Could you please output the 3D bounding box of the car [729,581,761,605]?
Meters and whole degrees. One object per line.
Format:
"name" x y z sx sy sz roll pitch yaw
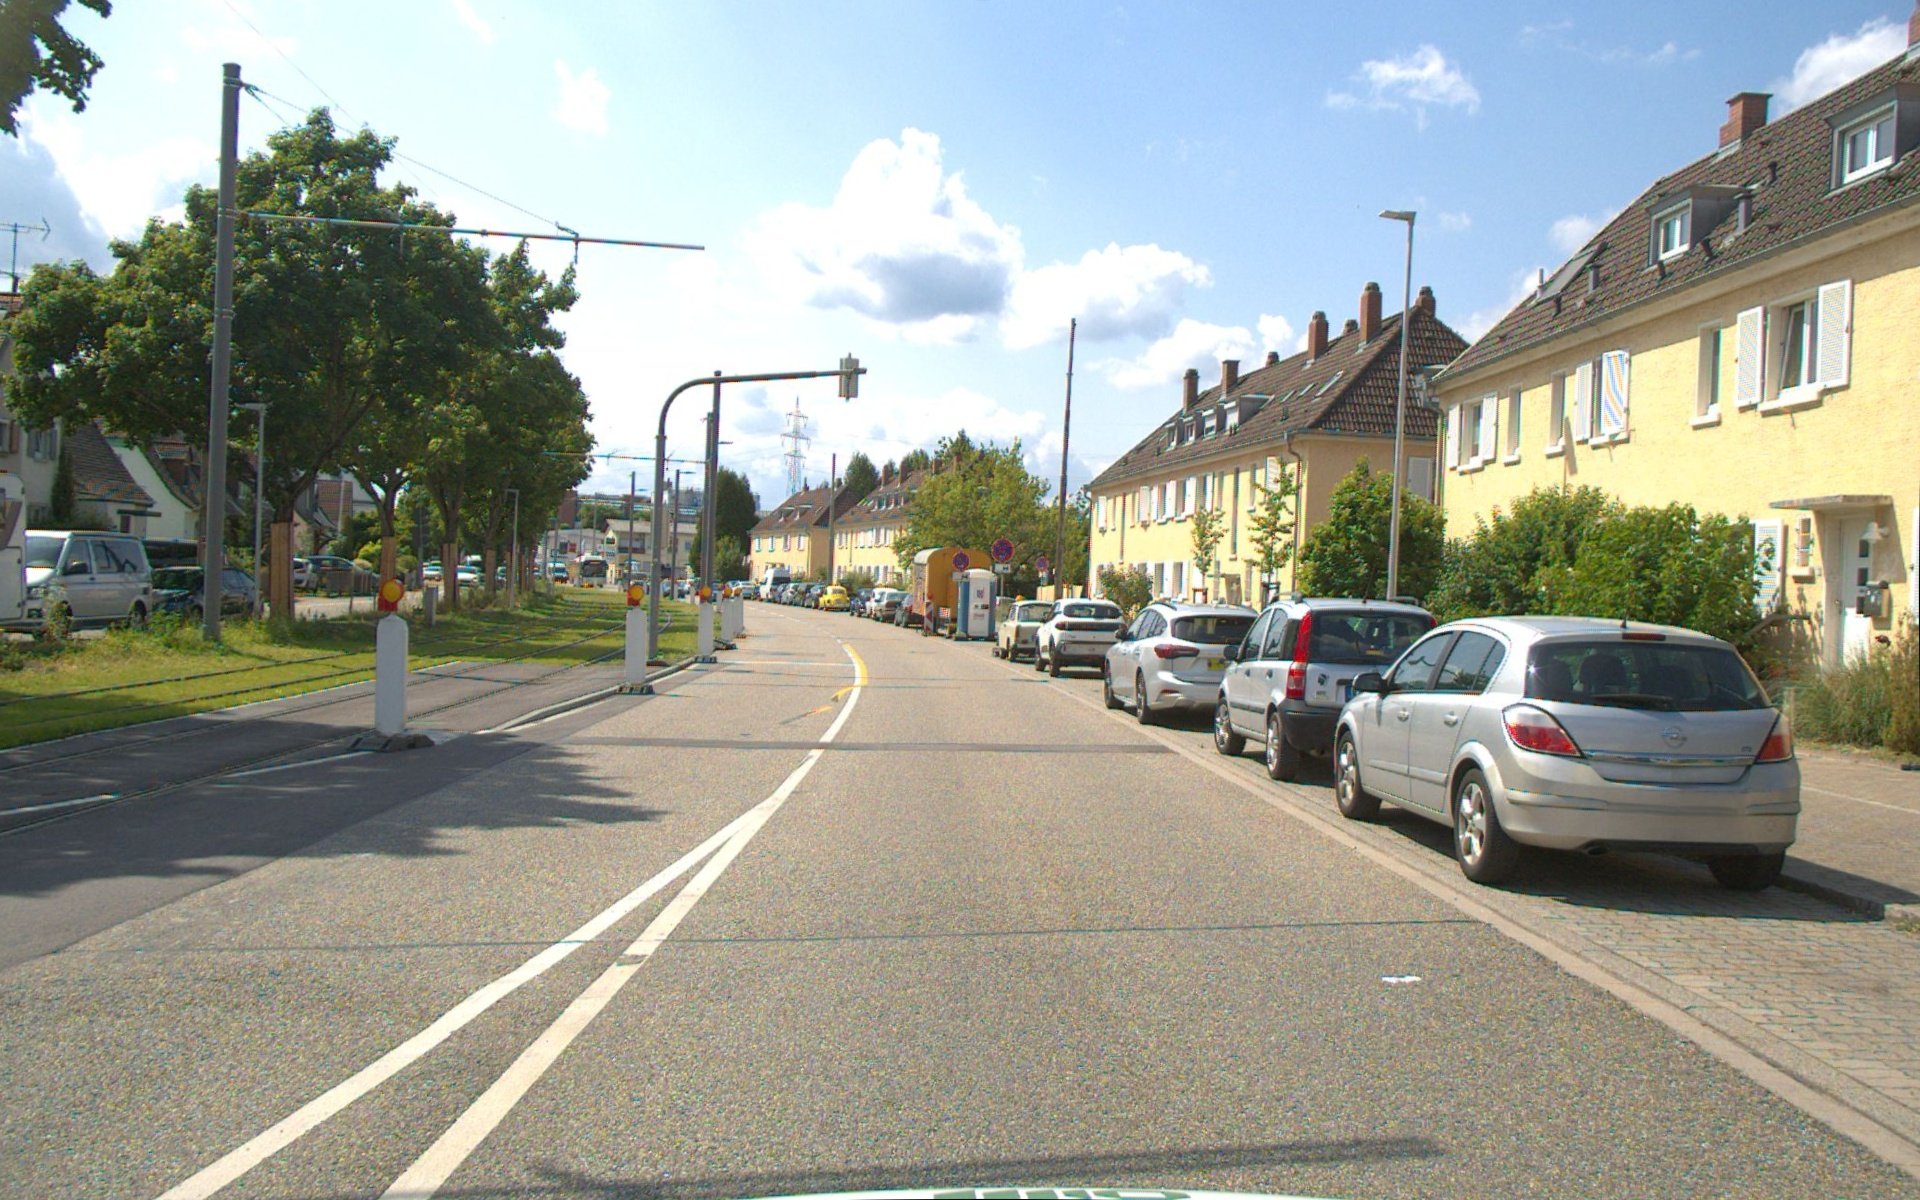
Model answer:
"car" -13.841 -0.472 106.274 1.636 1.474 3.947 0 1 -13

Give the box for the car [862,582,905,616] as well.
"car" -3.811 -0.076 82.200 1.549 1.539 4.449 2 0 -10

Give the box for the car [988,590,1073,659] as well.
"car" 1.631 0.546 39.457 1.435 1.528 4.104 1 0 -6

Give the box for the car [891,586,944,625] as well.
"car" -1.809 0.211 69.399 1.549 1.474 4.443 2 0 -10

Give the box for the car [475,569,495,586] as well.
"car" -46.371 -2.209 161.395 1.702 1.531 4.543 0 1 -19

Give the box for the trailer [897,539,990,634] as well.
"trailer" -0.670 -0.508 61.116 2.640 3.283 5.072 2 0 -9

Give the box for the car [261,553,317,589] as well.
"car" -30.499 -1.315 75.221 1.699 1.544 4.030 2 0 -13

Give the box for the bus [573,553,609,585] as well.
"bus" -41.378 -3.495 185.282 2.596 3.472 12.183 1 1 -19

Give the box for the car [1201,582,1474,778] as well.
"car" 3.395 0.650 15.550 1.595 1.577 3.808 1 0 -1

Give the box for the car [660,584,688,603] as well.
"car" -23.069 -0.556 133.300 1.696 1.413 4.104 2 0 -16

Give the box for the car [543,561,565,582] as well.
"car" -51.680 -3.641 210.542 2.072 2.486 5.539 2 0 -20

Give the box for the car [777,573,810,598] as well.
"car" -11.444 -1.003 113.564 1.609 1.630 4.013 3 0 -15

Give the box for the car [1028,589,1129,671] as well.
"car" 2.314 0.561 33.083 1.497 1.507 3.807 1 0 -3

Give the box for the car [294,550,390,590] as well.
"car" -32.154 -1.551 86.167 4.396 1.868 2.057 3 0 -15

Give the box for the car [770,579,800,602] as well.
"car" -12.502 -0.685 118.186 1.511 1.470 3.722 3 0 -15

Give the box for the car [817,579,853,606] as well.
"car" -7.531 -0.466 99.477 1.608 1.508 3.919 0 2 -13

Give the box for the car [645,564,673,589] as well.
"car" -31.813 -2.471 174.723 1.931 2.522 6.023 0 1 -21

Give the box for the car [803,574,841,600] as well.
"car" -8.706 -0.829 104.393 1.609 1.508 4.108 3 0 -15

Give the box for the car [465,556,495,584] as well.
"car" -49.048 -3.121 168.932 2.046 2.768 6.951 0 1 -24

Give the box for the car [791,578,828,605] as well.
"car" -10.017 -0.568 109.759 1.610 1.630 3.913 3 0 -17

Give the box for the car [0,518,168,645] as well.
"car" -16.219 -0.357 29.545 1.954 2.048 4.900 2 0 -4

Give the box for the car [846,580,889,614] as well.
"car" -4.898 -0.183 87.211 1.522 1.669 4.233 2 0 -13

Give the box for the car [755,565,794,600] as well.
"car" -13.848 -1.349 123.350 1.898 2.524 5.493 1 1 -16

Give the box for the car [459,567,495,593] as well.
"car" -35.526 -1.503 121.752 1.847 1.799 5.072 2 0 -9

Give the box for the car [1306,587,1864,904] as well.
"car" 3.562 0.712 10.354 1.673 1.530 4.252 2 0 -3

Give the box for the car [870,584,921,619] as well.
"car" -3.042 0.034 77.172 1.676 1.474 4.824 2 0 -10

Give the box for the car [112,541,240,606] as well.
"car" -27.332 -0.917 57.660 3.840 1.929 1.925 4 -1 -29

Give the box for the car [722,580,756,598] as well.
"car" -18.121 -0.892 135.499 1.772 1.483 4.736 0 0 -20

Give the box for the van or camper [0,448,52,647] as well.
"van or camper" -15.570 -0.817 22.894 2.329 3.022 7.290 2 0 -4

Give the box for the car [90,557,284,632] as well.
"car" -16.410 -0.128 35.418 1.814 1.411 4.808 3 0 0

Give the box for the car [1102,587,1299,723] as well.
"car" 2.966 0.620 21.299 1.714 1.524 4.384 1 0 -2

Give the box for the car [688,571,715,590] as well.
"car" -24.026 -1.843 153.840 1.738 1.672 3.977 0 1 -20
